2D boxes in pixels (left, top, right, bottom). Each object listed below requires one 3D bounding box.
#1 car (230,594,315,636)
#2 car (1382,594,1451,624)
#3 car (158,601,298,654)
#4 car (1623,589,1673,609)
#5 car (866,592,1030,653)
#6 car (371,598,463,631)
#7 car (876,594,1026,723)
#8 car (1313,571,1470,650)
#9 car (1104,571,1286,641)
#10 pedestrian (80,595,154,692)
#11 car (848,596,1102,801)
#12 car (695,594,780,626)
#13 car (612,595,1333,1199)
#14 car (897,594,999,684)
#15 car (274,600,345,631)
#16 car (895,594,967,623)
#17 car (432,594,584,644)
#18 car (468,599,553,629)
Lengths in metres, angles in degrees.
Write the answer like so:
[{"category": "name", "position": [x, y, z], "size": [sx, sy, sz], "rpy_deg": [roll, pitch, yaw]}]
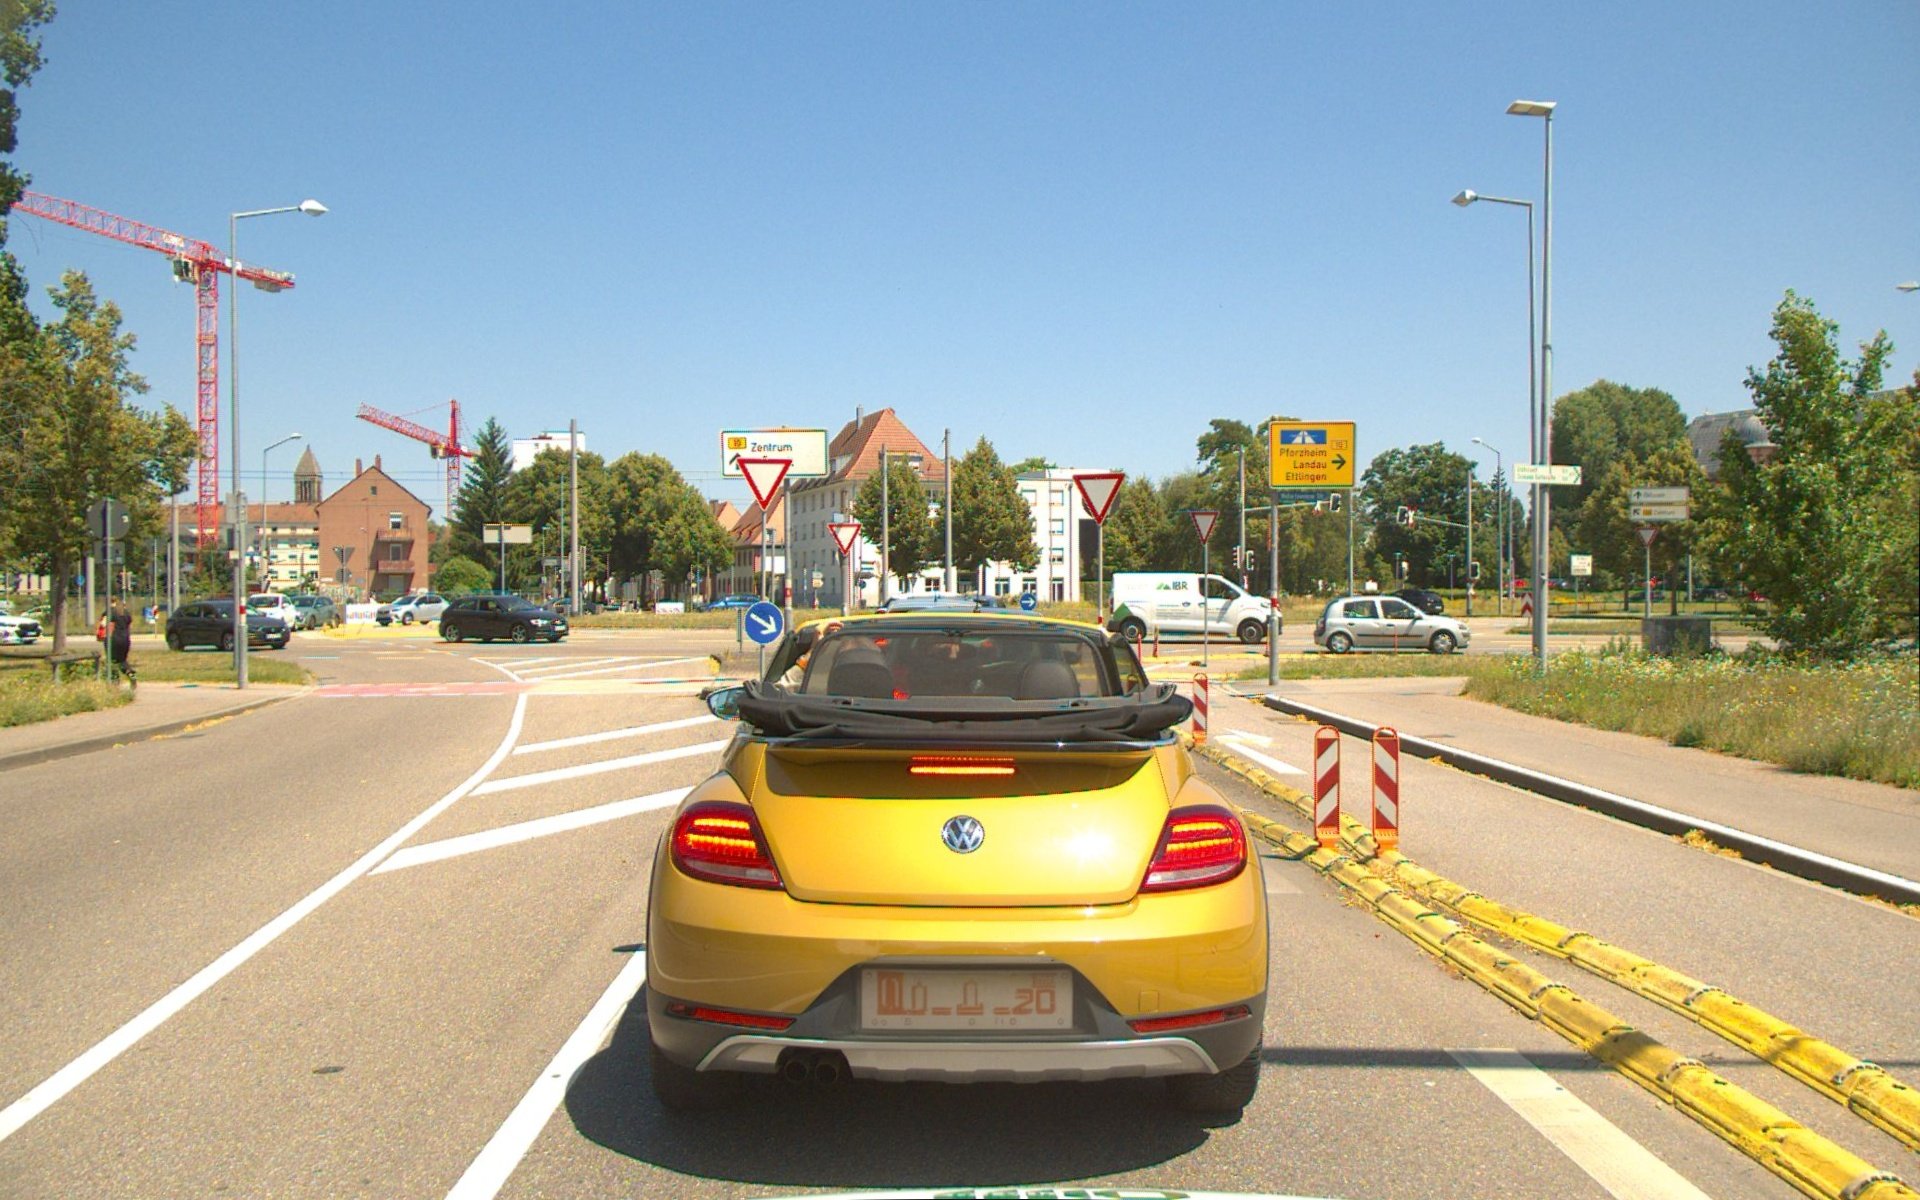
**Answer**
[{"category": "car", "position": [-27.099, 0.576, 65.348], "size": [1.720, 1.576, 3.999], "rpy_deg": [0, 0, -1]}, {"category": "car", "position": [27.202, 0.521, 98.655], "size": [1.914, 1.701, 4.175], "rpy_deg": [-1, 0, -20]}, {"category": "car", "position": [-21.762, 0.786, 49.146], "size": [4.133, 1.467, 1.993], "rpy_deg": [0, 0, 36]}, {"category": "car", "position": [63.783, -0.093, 153.348], "size": [3.923, 1.744, 1.991], "rpy_deg": [0, 0, -17]}, {"category": "car", "position": [-0.269, 0.547, 41.665], "size": [3.922, 1.470, 1.634], "rpy_deg": [0, 0, 8]}, {"category": "car", "position": [-26.292, 0.689, 80.192], "size": [1.676, 1.526, 4.210], "rpy_deg": [0, 0, 32]}, {"category": "car", "position": [-0.128, 0.674, 20.952], "size": [1.701, 1.467, 3.999], "rpy_deg": [0, 0, -1]}, {"category": "car", "position": [10.514, 0.247, 40.493], "size": [3.587, 1.882, 1.634], "rpy_deg": [0, 0, 10]}, {"category": "car", "position": [6.499, 0.162, 45.876], "size": [4.864, 1.882, 2.002], "rpy_deg": [0, 0, 8]}, {"category": "pedestrian", "position": [-14.200, 0.720, 27.864], "size": [0.859, 1.590, 0.808], "rpy_deg": [0, 0, 35]}, {"category": "car", "position": [0.083, 0.707, 13.860], "size": [1.810, 1.467, 3.999], "rpy_deg": [0, 0, -1]}, {"category": "car", "position": [-13.887, 0.621, 103.365], "size": [4.863, 1.817, 2.007], "rpy_deg": [-1, 0, -30]}, {"category": "car", "position": [0.003, 0.716, 5.844], "size": [1.717, 1.447, 3.776], "rpy_deg": [0, 0, -1]}, {"category": "car", "position": [-0.230, 0.657, 29.821], "size": [1.701, 1.503, 3.999], "rpy_deg": [0, 0, -1]}, {"category": "car", "position": [-27.750, 0.640, 70.621], "size": [1.673, 1.258, 3.785], "rpy_deg": [0, 0, -3]}, {"category": "car", "position": [-1.902, 0.569, 107.692], "size": [4.576, 1.860, 1.999], "rpy_deg": [0, 0, -3]}, {"category": "car", "position": [-13.755, 0.554, 50.320], "size": [4.102, 1.467, 2.000], "rpy_deg": [0, 0, 22]}, {"category": "car", "position": [-25.938, 0.811, 95.453], "size": [4.361, 1.597, 2.005], "rpy_deg": [-1, 0, -31]}]
